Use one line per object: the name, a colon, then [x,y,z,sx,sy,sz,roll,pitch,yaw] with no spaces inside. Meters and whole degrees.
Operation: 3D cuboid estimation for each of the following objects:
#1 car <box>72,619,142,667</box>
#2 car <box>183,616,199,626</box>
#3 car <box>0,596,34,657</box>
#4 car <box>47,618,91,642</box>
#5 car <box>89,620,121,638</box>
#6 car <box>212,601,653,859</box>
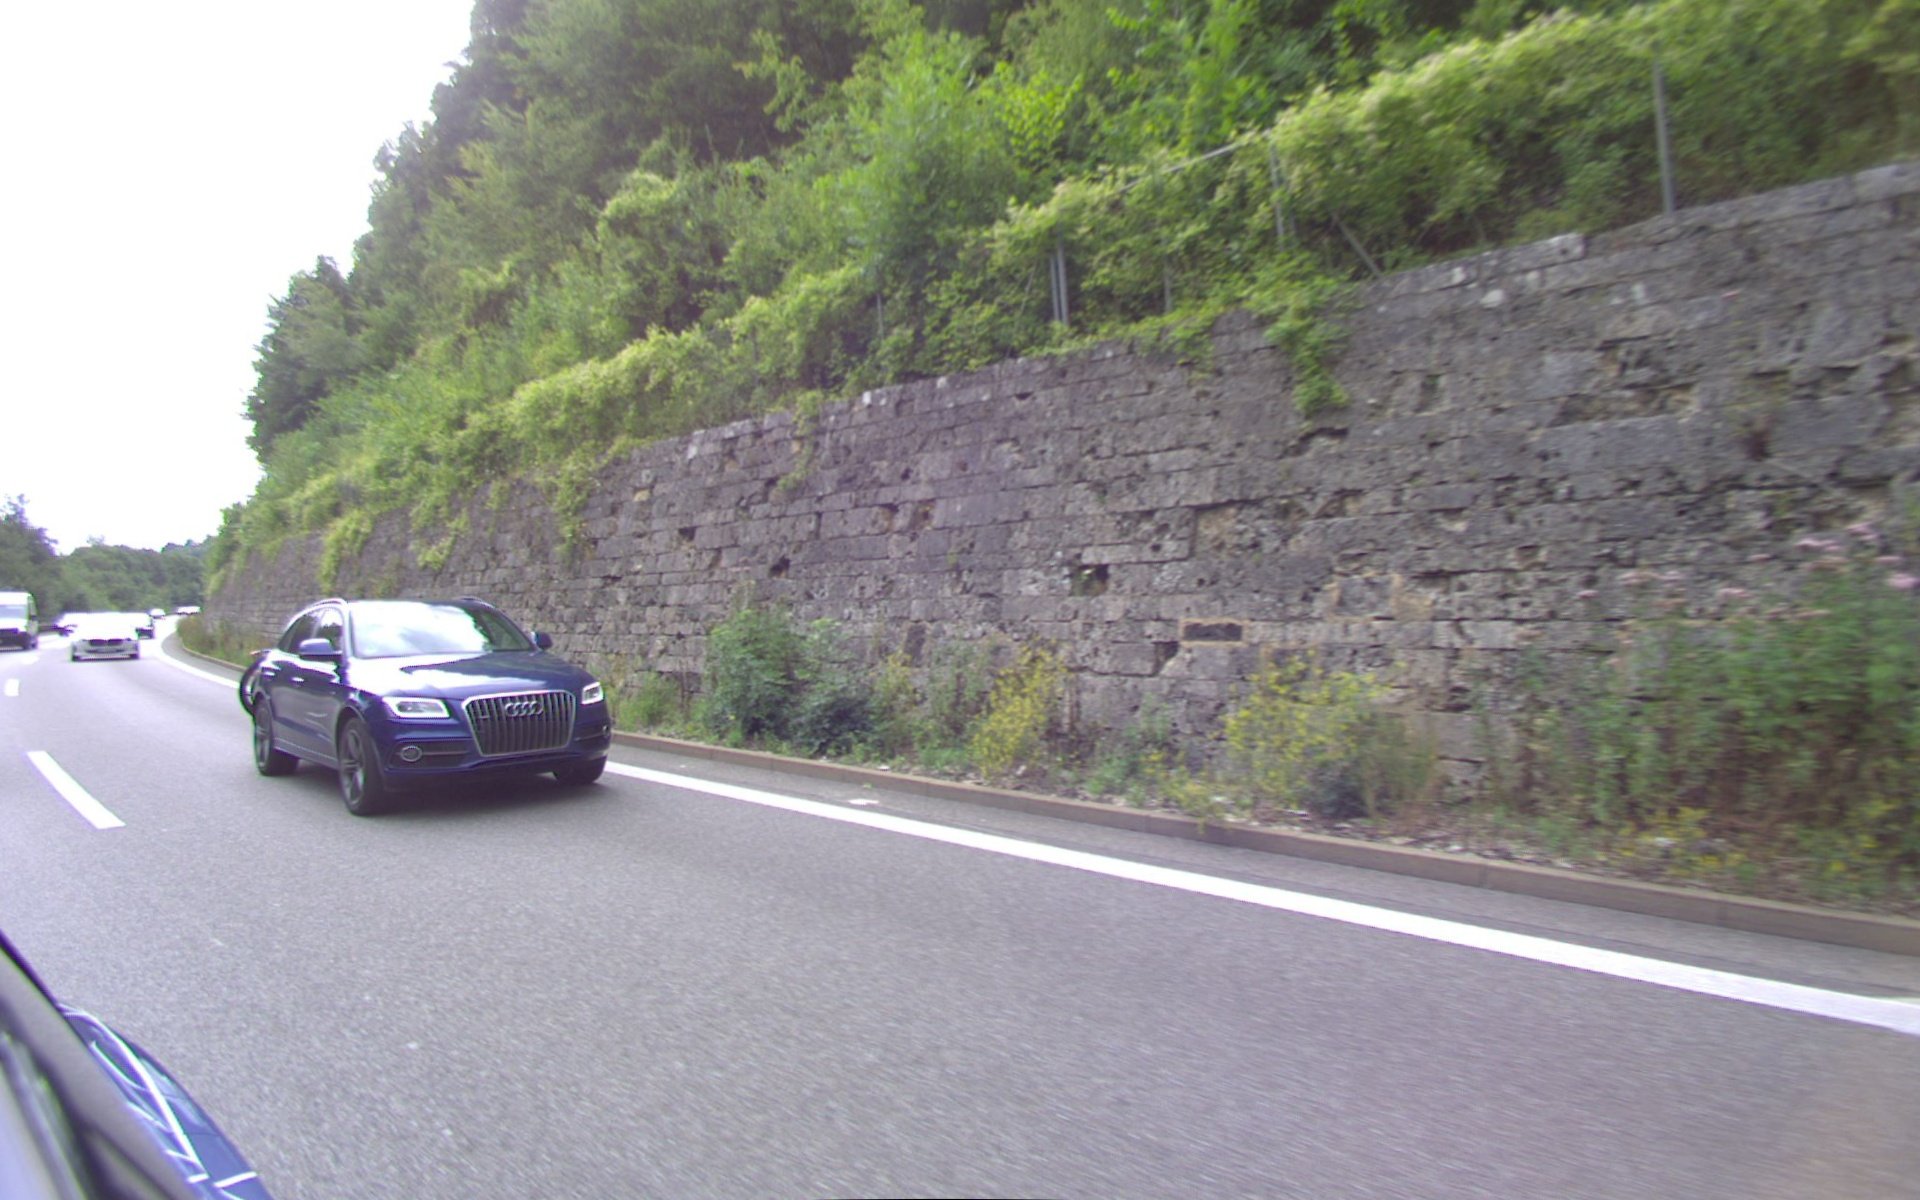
car: [-29.852,1.489,35.415,1.796,1.567,4.006,0,-2,-41]
car: [-126.265,3.472,166.249,1.794,1.567,4.010,0,-2,-33]
car: [-42.940,1.224,45.196,2.067,2.582,5.929,0,-2,-40]
car: [-62.830,2.134,71.425,1.794,1.567,4.010,0,-2,-34]
car: [-78.903,2.690,93.421,1.794,1.567,4.010,0,-2,-33]
car: [-5.105,0.853,9.269,5.589,1.605,1.949,0,2,45]
